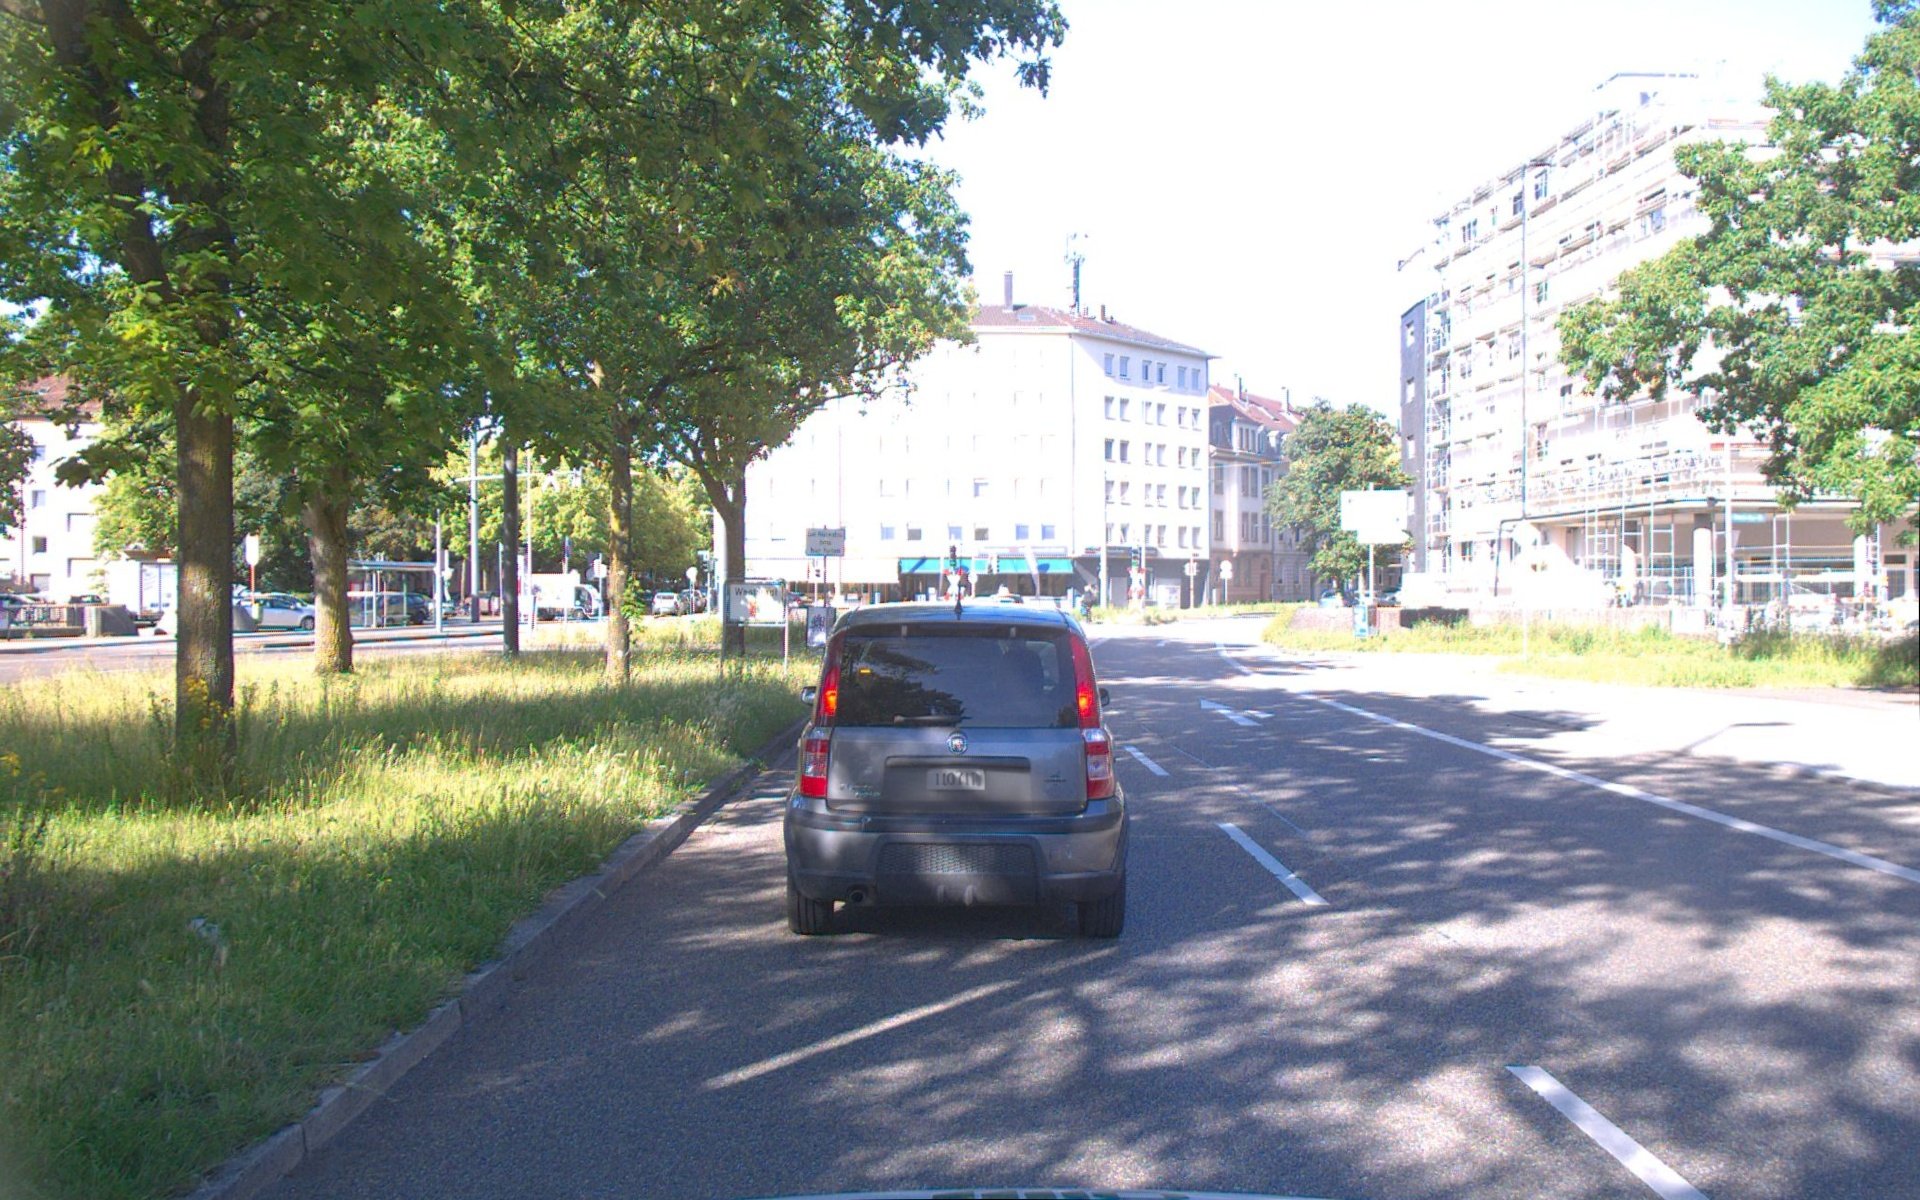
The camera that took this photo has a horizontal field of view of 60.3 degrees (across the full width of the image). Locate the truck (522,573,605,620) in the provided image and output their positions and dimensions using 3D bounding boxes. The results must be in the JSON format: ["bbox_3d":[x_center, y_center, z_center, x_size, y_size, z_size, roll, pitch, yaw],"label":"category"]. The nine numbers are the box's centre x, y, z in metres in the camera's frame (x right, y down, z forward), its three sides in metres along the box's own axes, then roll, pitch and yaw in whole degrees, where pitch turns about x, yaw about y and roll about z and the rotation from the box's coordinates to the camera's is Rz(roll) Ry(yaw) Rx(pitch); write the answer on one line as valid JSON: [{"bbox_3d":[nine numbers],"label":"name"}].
[{"bbox_3d":[-21.416,-0.194,89.393,4.010,2.469,1.795,0,0,5],"label":"truck"}]

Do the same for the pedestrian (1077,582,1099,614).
[{"bbox_3d":[5.862,-0.087,75.706,0.760,1.452,0.935,1,-1,-14],"label":"pedestrian"}]

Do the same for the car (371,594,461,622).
[{"bbox_3d":[-29.184,0.416,88.836,4.303,1.474,1.666,0,0,-6],"label":"car"}]

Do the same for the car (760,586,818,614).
[{"bbox_3d":[-9.642,-0.025,93.075,1.646,1.527,3.544,-1,0,-38],"label":"car"}]

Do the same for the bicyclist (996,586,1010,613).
[{"bbox_3d":[2.154,-0.021,83.655,0.522,1.380,0.594,0,0,-20],"label":"bicyclist"}]

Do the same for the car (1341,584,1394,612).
[{"bbox_3d":[23.313,-0.121,94.618,1.787,1.534,3.990,0,1,32],"label":"car"}]

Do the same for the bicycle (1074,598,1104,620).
[{"bbox_3d":[5.894,0.400,75.555,0.770,0.968,1.849,1,-1,-15],"label":"bicycle"}]

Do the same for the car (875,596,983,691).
[{"bbox_3d":[-0.558,0.692,28.894,1.724,1.512,4.292,0,0,-2],"label":"car"}]

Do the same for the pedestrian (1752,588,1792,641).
[{"bbox_3d":[23.659,0.406,48.198,0.637,1.523,0.907,0,0,-9],"label":"pedestrian"}]

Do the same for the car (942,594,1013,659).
[{"bbox_3d":[0.416,0.602,39.246,1.612,1.463,3.396,0,0,1],"label":"car"}]

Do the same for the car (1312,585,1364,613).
[{"bbox_3d":[20.684,-0.059,90.449,1.742,1.468,3.610,1,1,31],"label":"car"}]

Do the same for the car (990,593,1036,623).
[{"bbox_3d":[2.286,0.313,72.715,1.952,1.264,4.000,0,0,1],"label":"car"}]

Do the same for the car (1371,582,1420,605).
[{"bbox_3d":[31.889,-0.478,121.256,1.872,1.621,3.986,0,0,-13],"label":"car"}]

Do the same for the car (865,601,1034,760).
[{"bbox_3d":[-0.123,0.761,17.408,1.588,1.454,3.687,0,0,-1],"label":"car"}]

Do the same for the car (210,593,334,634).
[{"bbox_3d":[-29.219,0.548,70.365,1.840,1.570,4.521,4,3,42],"label":"car"}]

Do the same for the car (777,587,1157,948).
[{"bbox_3d":[0.054,0.707,8.720,1.625,1.536,3.252,0,0,1],"label":"car"}]

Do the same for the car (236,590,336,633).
[{"bbox_3d":[-29.934,0.481,73.568,1.724,1.747,3.997,3,2,26],"label":"car"}]

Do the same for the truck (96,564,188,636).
[{"bbox_3d":[-36.007,-0.047,72.759,4.742,3.047,1.988,1,1,42],"label":"truck"}]

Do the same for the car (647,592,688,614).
[{"bbox_3d":[-19.005,0.183,107.625,1.953,1.333,3.999,0,0,-1],"label":"car"}]

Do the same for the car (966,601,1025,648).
[{"bbox_3d":[1.050,0.682,48.271,1.655,1.275,3.627,0,0,1],"label":"car"}]
